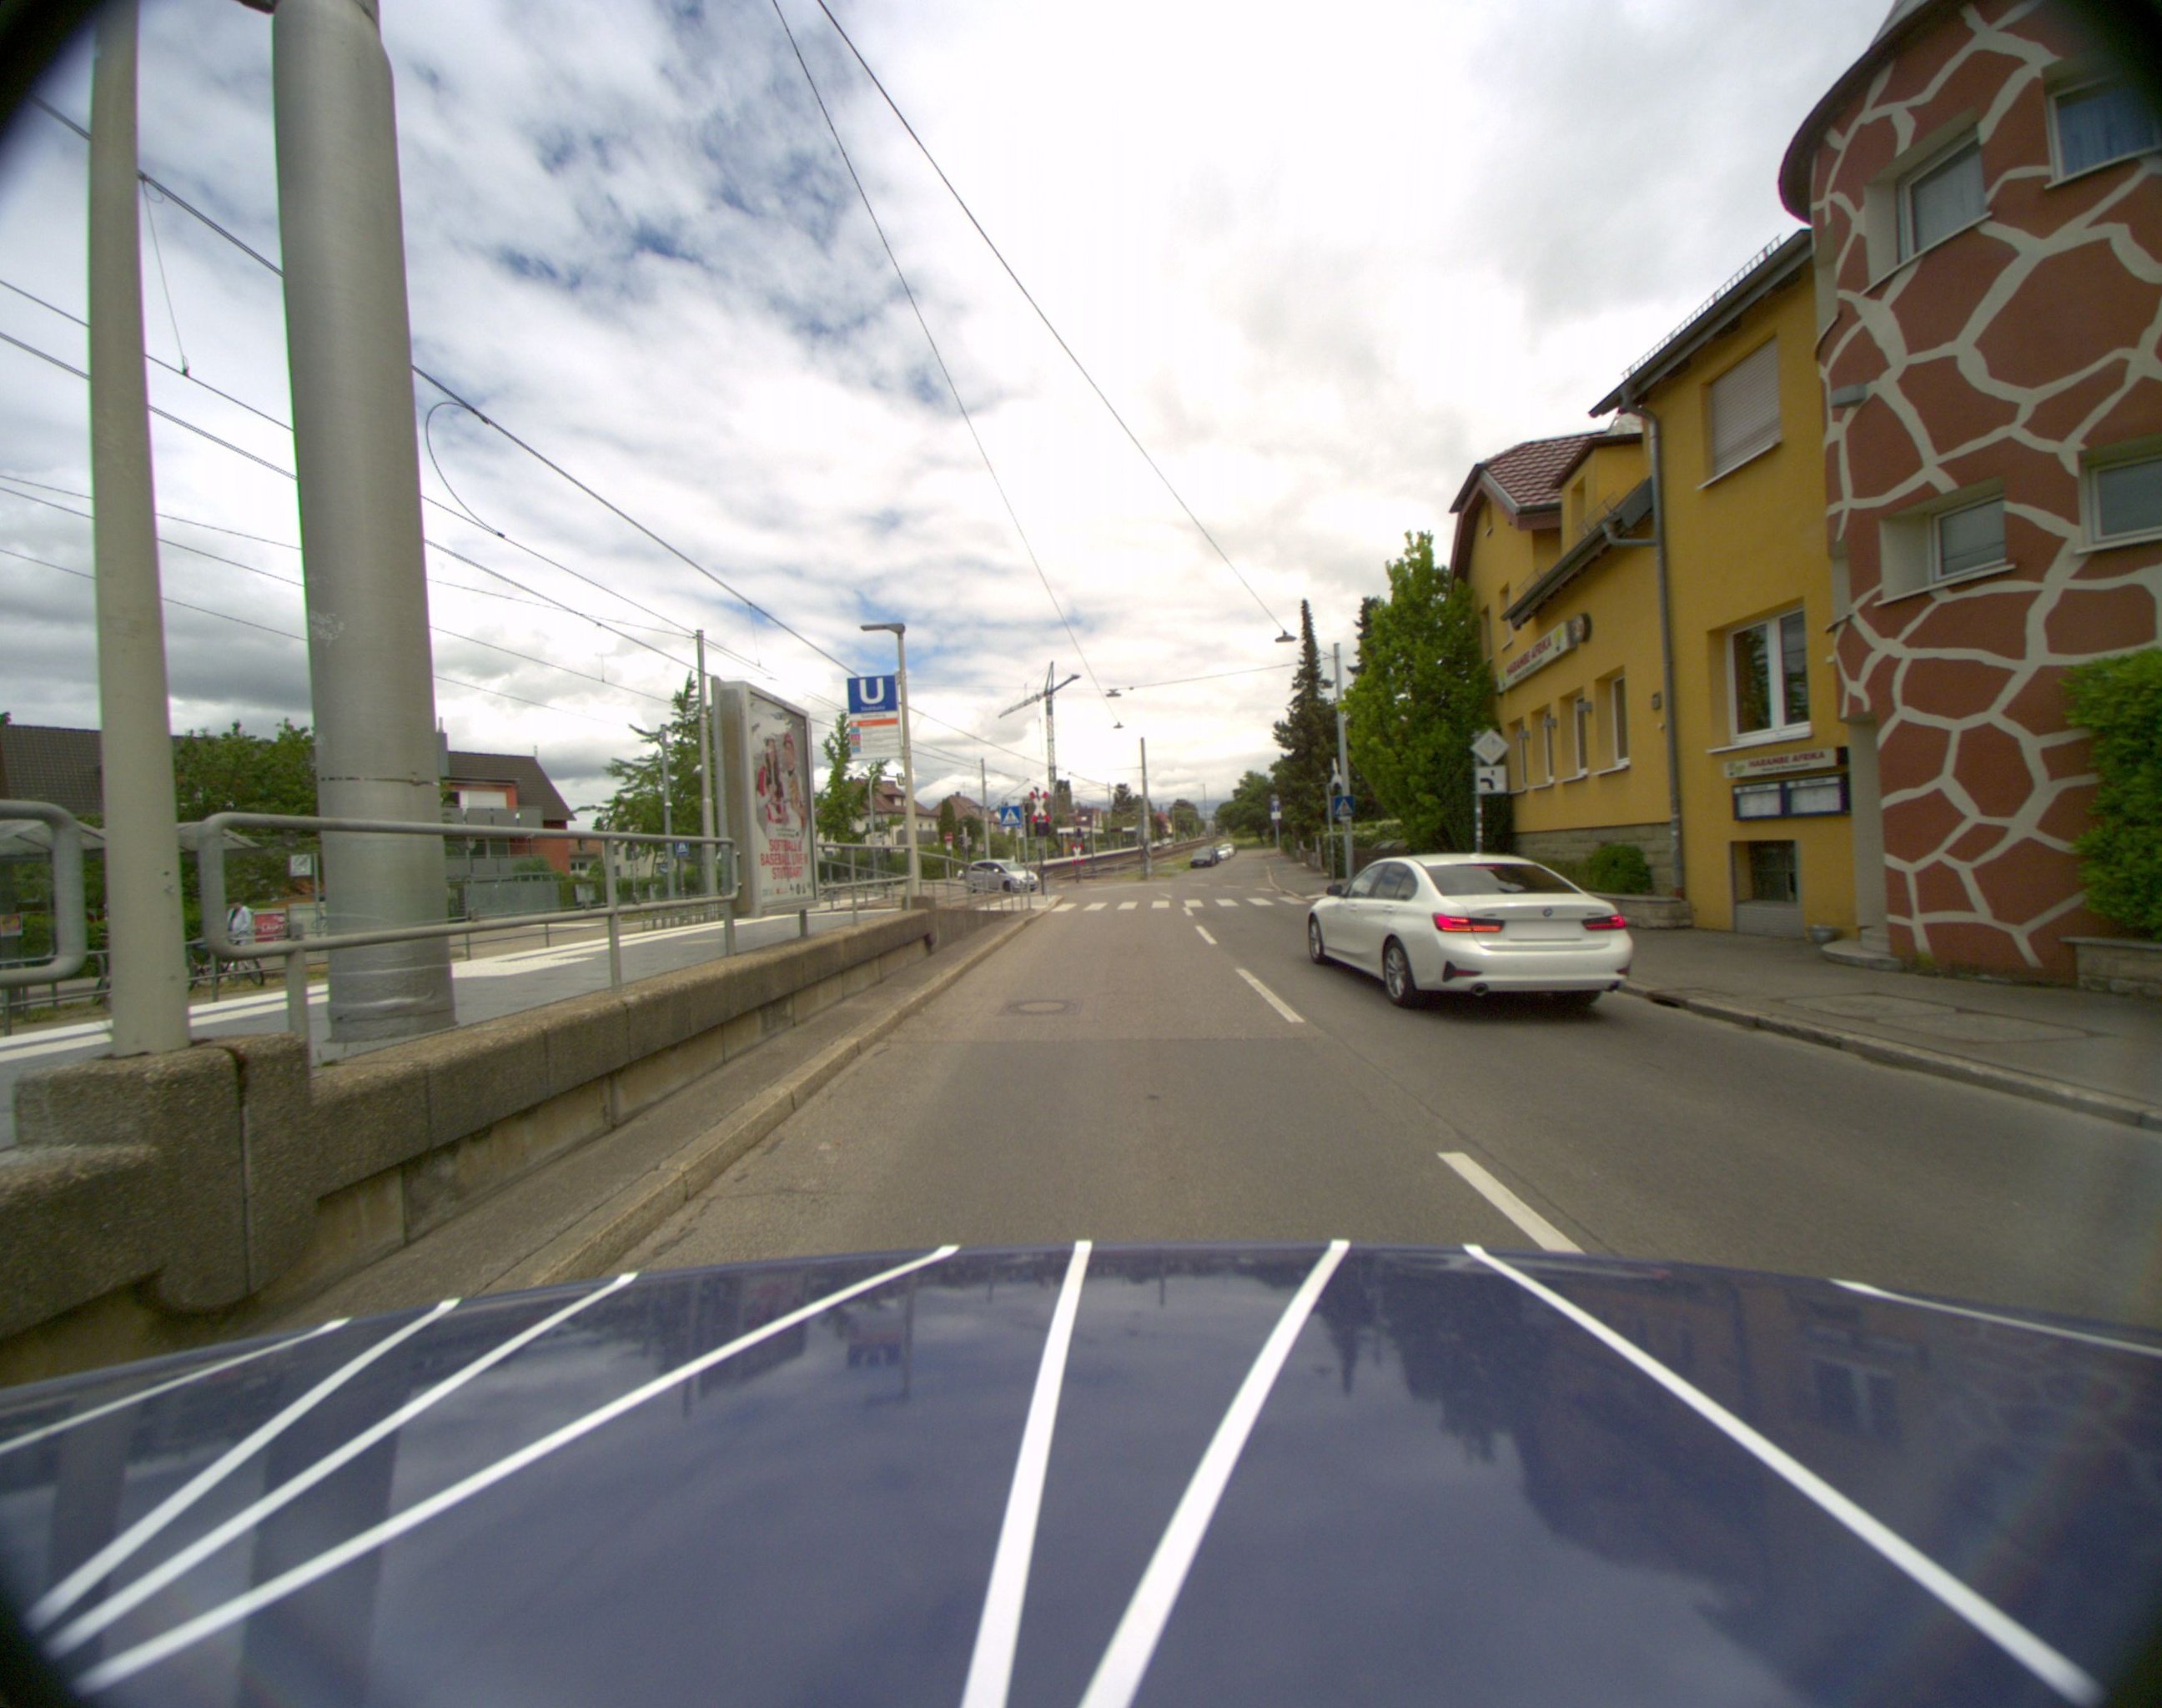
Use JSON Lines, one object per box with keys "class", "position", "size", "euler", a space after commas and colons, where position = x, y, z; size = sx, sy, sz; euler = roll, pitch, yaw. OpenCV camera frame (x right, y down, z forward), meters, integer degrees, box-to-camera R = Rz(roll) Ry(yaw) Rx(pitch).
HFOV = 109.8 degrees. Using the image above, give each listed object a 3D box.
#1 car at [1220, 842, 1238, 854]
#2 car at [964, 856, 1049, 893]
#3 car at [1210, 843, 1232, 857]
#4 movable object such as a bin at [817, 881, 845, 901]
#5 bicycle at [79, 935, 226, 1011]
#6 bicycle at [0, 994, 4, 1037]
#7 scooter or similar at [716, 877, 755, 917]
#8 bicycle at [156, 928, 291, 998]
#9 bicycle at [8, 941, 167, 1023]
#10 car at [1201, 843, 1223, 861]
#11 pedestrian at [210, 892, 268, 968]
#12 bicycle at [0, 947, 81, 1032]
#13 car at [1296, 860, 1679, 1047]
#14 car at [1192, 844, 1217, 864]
{"class": "car", "position": [17.821, -0.737, 91.589], "size": [1.851, 1.368, 4.004], "euler": [-4, 0, 14]}
{"class": "car", "position": [-3.689, 1.031, 37.247], "size": [3.917, 1.559, 1.730], "euler": [-4, 0, 37]}
{"class": "car", "position": [14.917, -0.442, 80.805], "size": [1.851, 1.368, 4.004], "euler": [-4, 0, 14]}
{"class": "movable object such as a bin", "position": [-11.849, 1.756, 35.979], "size": [0.578, 0.820, 1.096], "euler": [-3, 1, 32]}
{"class": "bicycle", "position": [-14.614, 1.874, 11.971], "size": [1.768, 1.036, 0.557], "euler": [-3, 1, 7]}
{"class": "bicycle", "position": [-14.960, 1.908, 9.707], "size": [1.768, 1.036, 0.557], "euler": [-3, 1, 7]}
{"class": "scooter or similar", "position": [-11.719, 1.449, 25.759], "size": [1.050, 1.308, 0.490], "euler": [-3, 0, 9]}
{"class": "bicycle", "position": [-14.508, 1.839, 12.868], "size": [1.768, 1.036, 0.557], "euler": [-3, 1, 7]}
{"class": "bicycle", "position": [-14.701, 1.888, 11.257], "size": [1.768, 1.036, 0.557], "euler": [-3, 1, 7]}
{"class": "car", "position": [12.183, -0.173, 70.562], "size": [1.819, 1.493, 4.122], "euler": [-4, 0, 12]}
{"class": "pedestrian", "position": [-22.123, 1.966, 19.971], "size": [0.626, 1.903, 0.830], "euler": [-3, 0, -17]}
{"class": "bicycle", "position": [-14.878, 1.874, 10.414], "size": [1.768, 1.036, 0.557], "euler": [-3, 1, 7]}
{"class": "car", "position": [3.858, 0.814, 8.269], "size": [1.823, 1.411, 4.463], "euler": [-1, 0, 1]}
{"class": "car", "position": [10.488, 0.006, 64.363], "size": [1.819, 1.493, 4.122], "euler": [-4, 0, 12]}
